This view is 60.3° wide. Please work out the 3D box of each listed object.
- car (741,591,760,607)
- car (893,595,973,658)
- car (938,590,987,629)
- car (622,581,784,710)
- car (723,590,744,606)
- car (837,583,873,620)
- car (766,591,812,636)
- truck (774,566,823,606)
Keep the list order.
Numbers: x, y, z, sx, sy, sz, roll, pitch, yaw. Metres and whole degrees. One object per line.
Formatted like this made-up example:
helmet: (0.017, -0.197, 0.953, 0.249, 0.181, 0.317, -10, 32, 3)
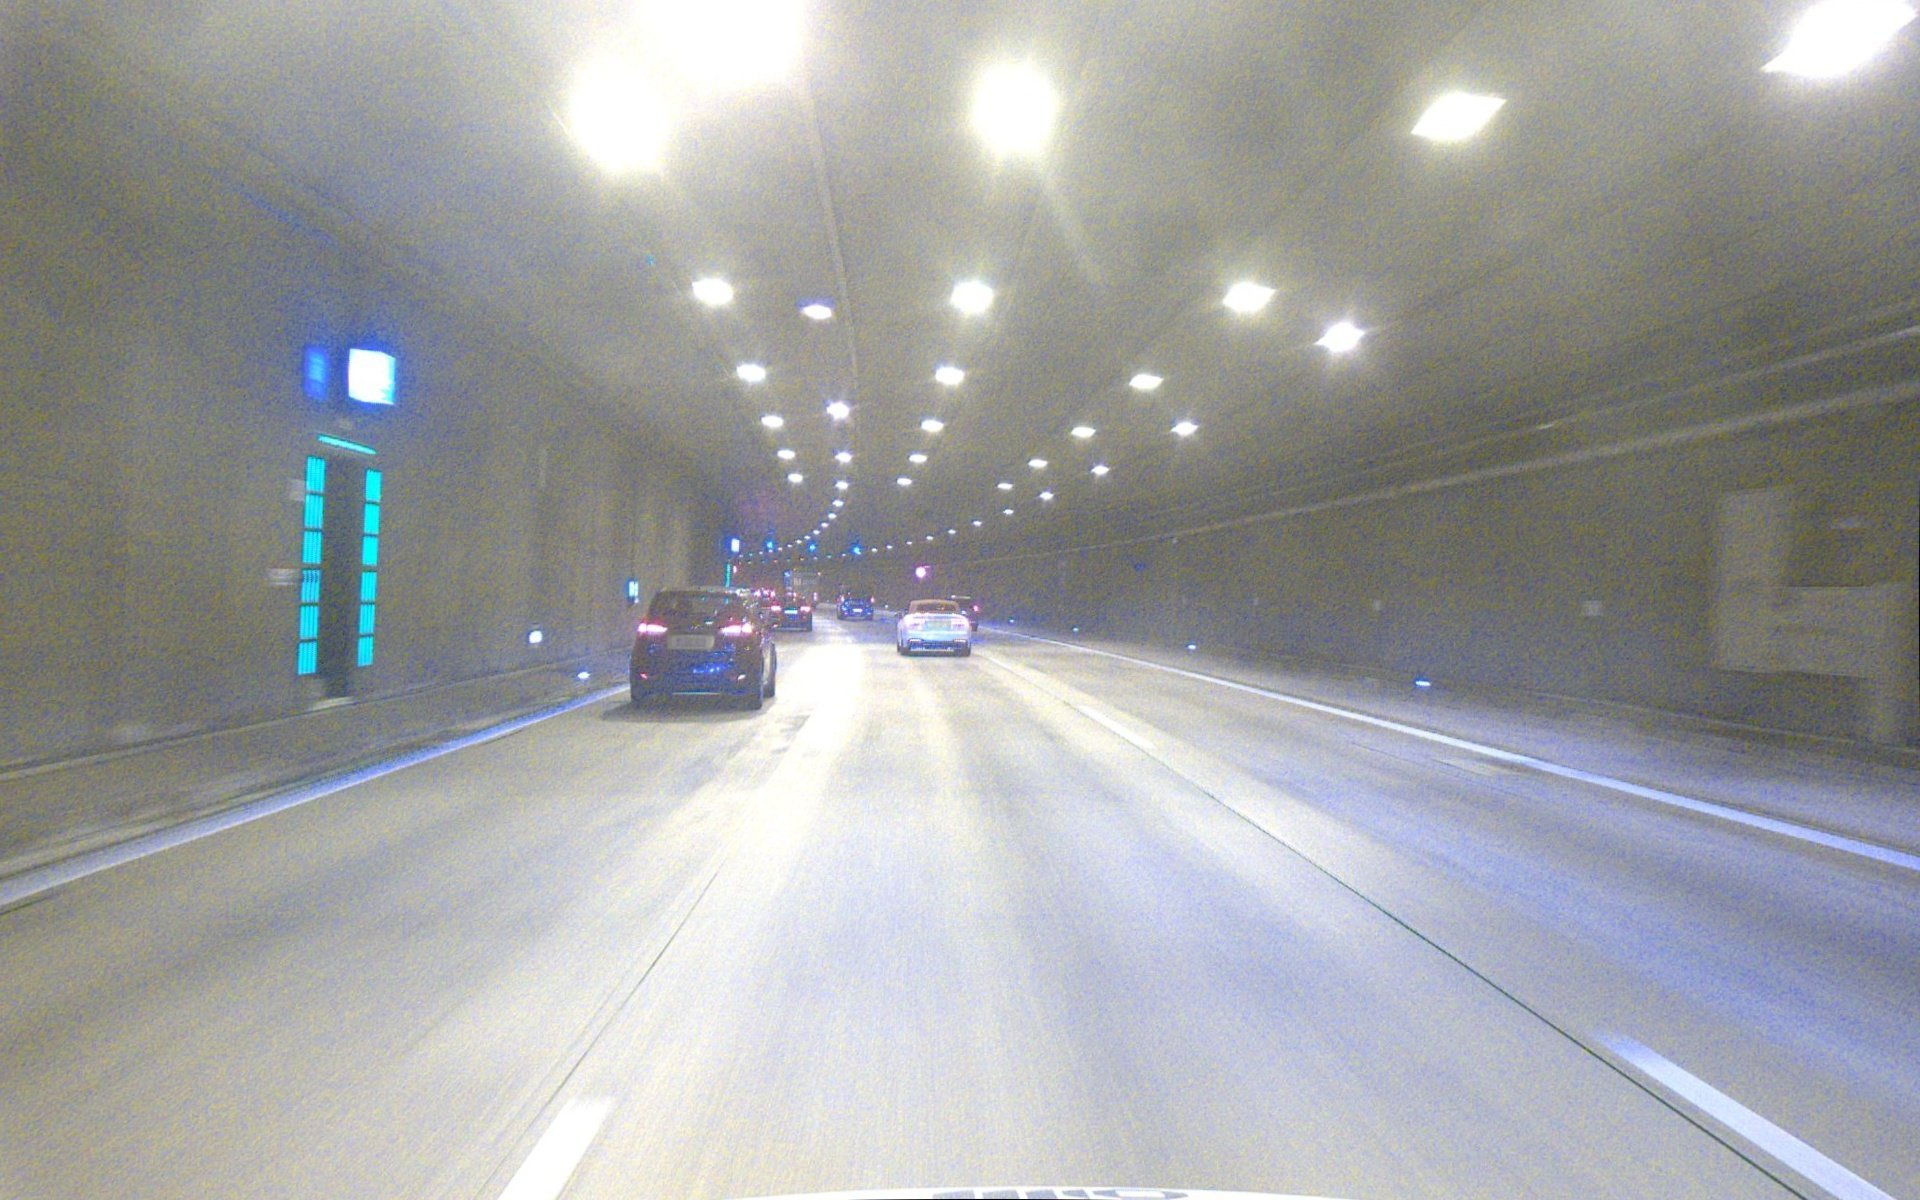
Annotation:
car: (-24.188, -0.072, 190.870, 1.957, 1.785, 3.991, 2, 0, -10)
car: (-0.677, 0.647, 43.000, 1.953, 1.509, 4.000, 1, 0, 0)
car: (0.079, 0.419, 72.719, 1.804, 1.630, 3.996, 1, 0, -5)
car: (-3.467, 0.578, 22.949, 1.749, 1.626, 3.800, 1, 0, -2)
car: (-23.677, -0.223, 173.020, 1.958, 1.557, 3.990, 2, 0, -11)
car: (-5.879, 0.079, 92.441, 1.954, 2.006, 3.996, 1, 0, -4)
car: (-6.858, 0.522, 66.408, 1.766, 1.713, 3.995, 1, 0, -6)
truck: (-13.784, -1.273, 140.484, 3.028, 3.167, 10.002, 2, 1, -11)
